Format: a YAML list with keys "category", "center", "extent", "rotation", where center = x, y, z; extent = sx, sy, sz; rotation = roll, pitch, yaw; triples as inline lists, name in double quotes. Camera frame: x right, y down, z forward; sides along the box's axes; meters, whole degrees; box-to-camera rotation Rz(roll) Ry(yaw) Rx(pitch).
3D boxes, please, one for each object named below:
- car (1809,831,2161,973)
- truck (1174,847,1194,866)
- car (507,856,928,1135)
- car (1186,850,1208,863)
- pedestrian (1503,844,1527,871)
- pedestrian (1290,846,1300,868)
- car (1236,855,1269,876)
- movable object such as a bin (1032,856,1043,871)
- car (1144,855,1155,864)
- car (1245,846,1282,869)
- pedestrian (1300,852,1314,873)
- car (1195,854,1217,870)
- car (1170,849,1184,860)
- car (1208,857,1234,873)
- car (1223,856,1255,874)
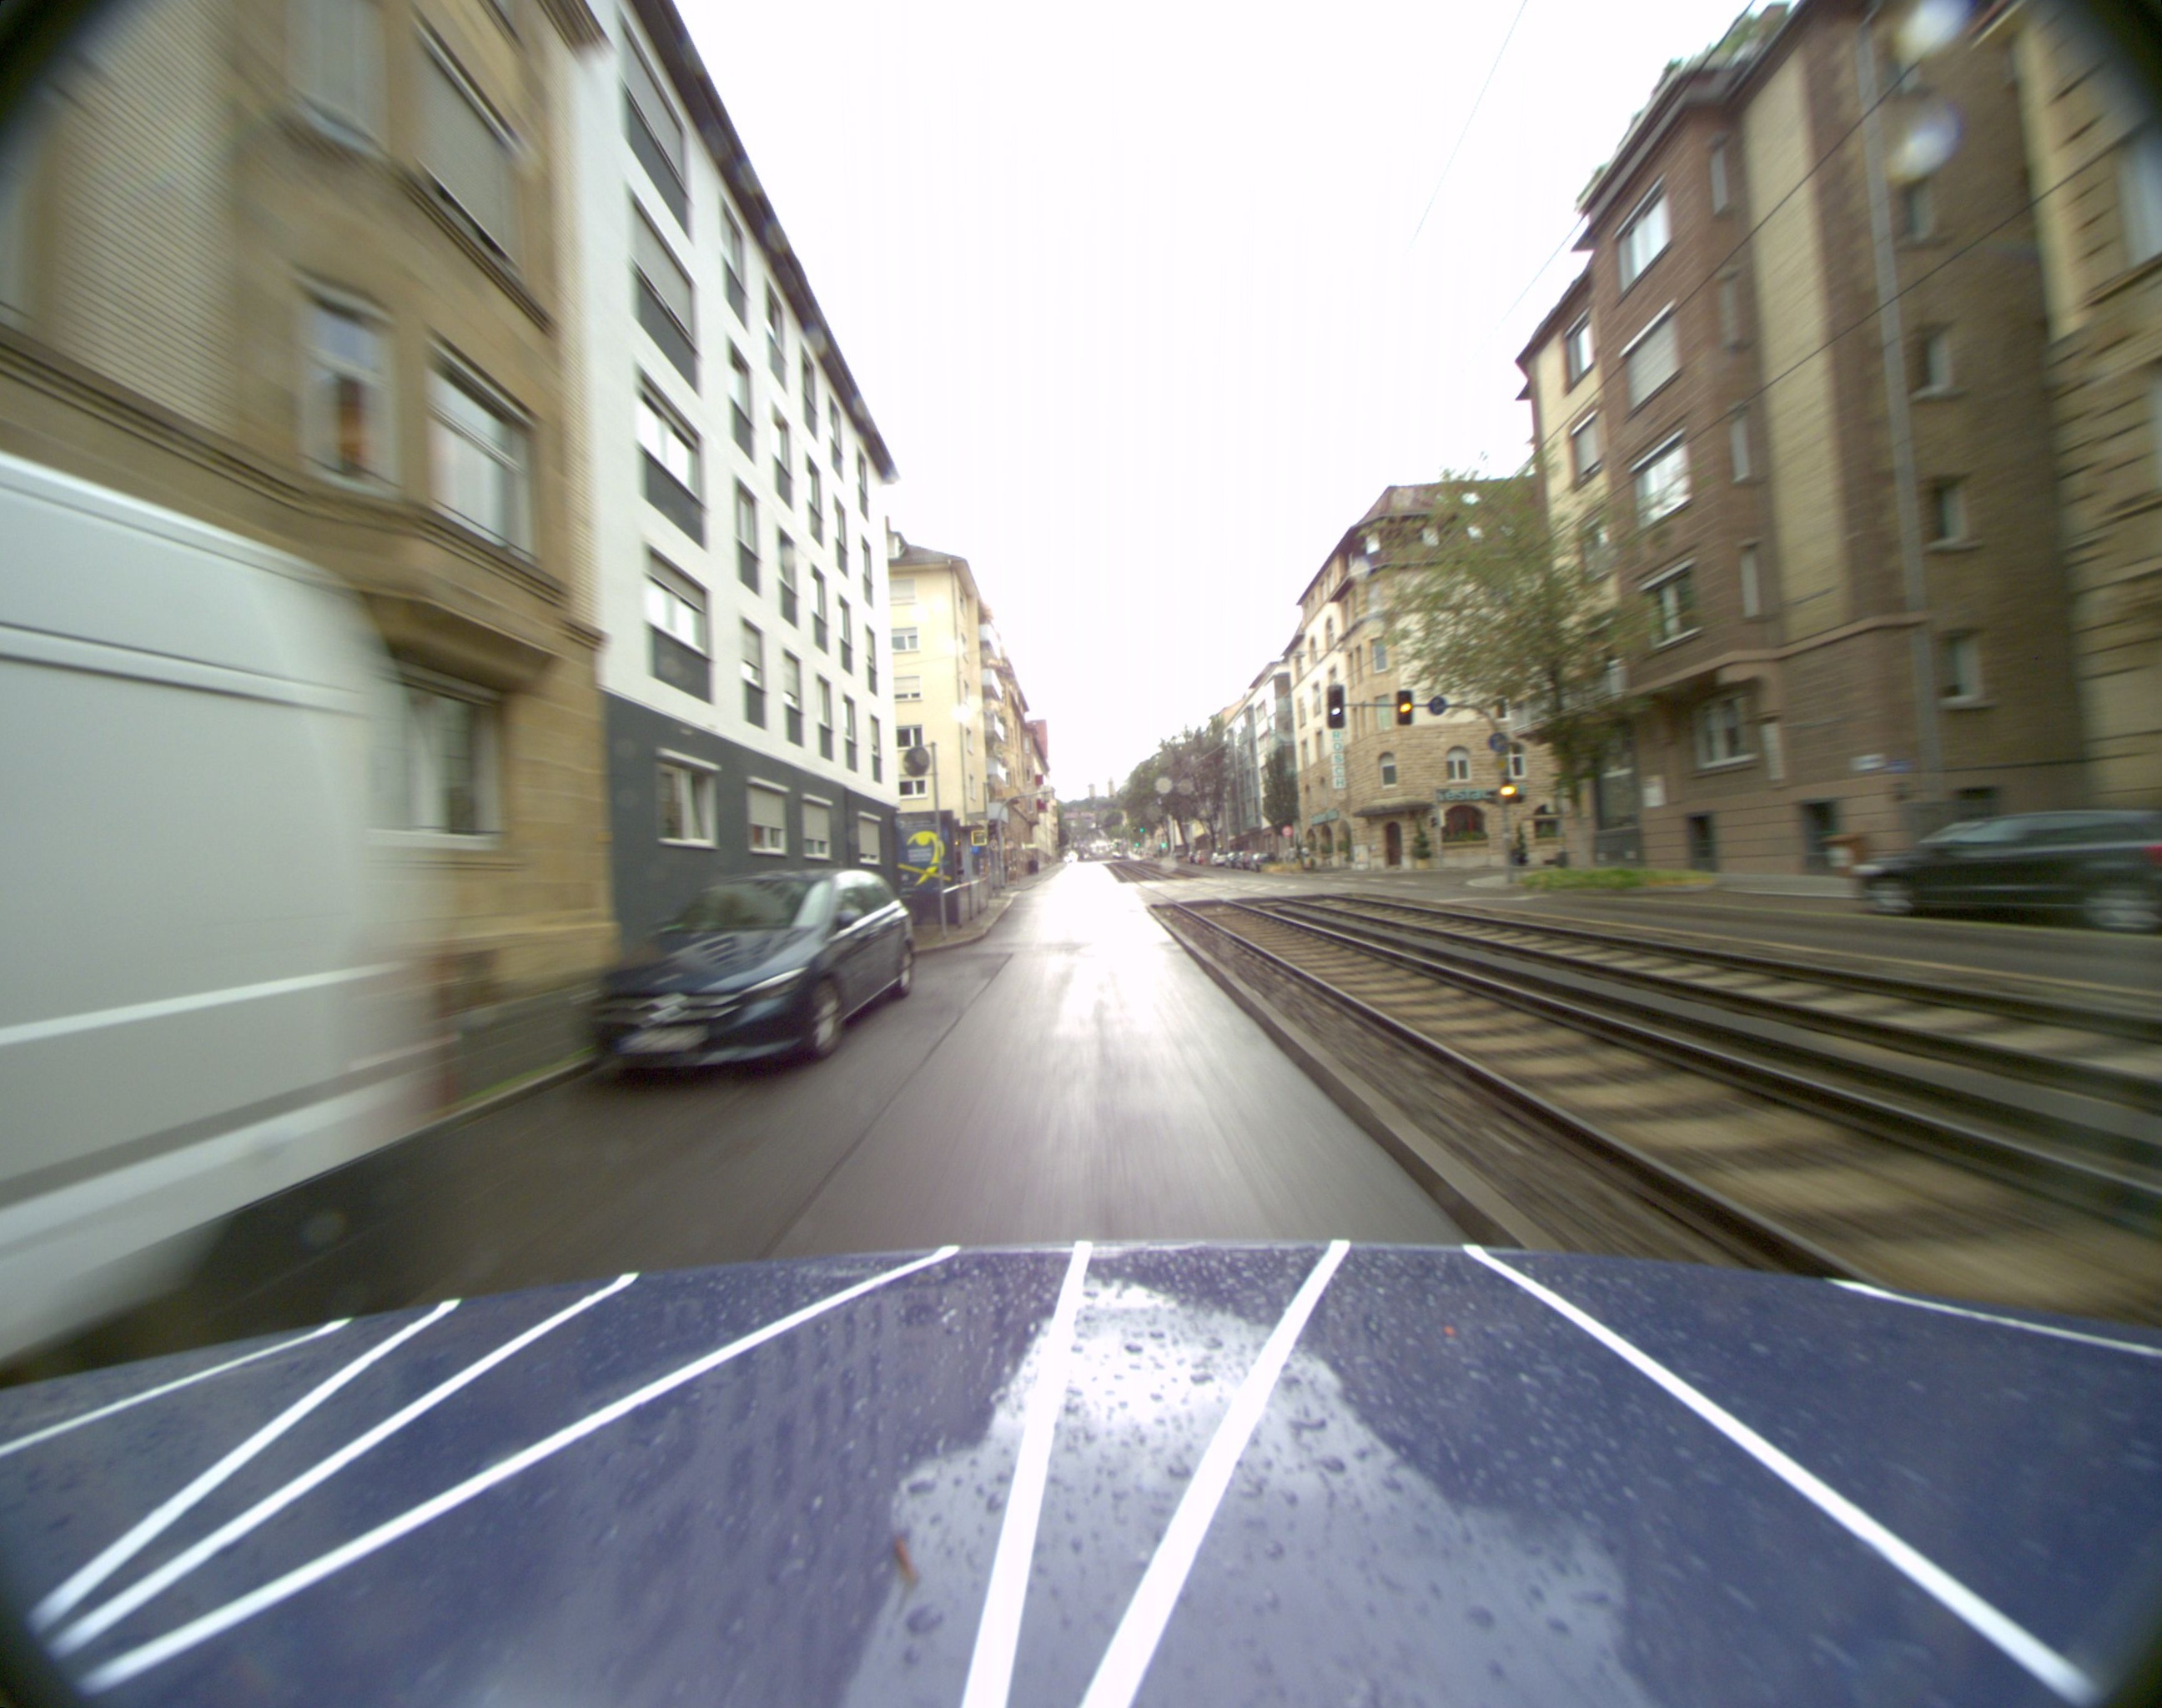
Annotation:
- category: "car"
  center: [12.525, 0.484, 10.169]
  extent: [1.769, 1.477, 4.000]
  rotation: [-3, 1, 2]
- category: "truck"
  center: [14.492, 0.356, 107.380]
  extent: [2.197, 2.332, 6.352]
  rotation: [-2, 2, 3]
- category: "car"
  center: [-2.947, 0.983, 7.448]
  extent: [1.773, 1.797, 4.482]
  rotation: [-4, 0, 1]
- category: "car"
  center: [14.213, 0.330, 93.242]
  extent: [1.911, 1.432, 4.469]
  rotation: [-3, 0, 0]
- category: "pedestrian"
  center: [23.136, 0.180, 40.523]
  extent: [0.818, 1.407, 0.721]
  rotation: [-3, 0, 4]
- category: "pedestrian"
  center: [15.388, 0.184, 54.665]
  extent: [0.518, 1.561, 0.643]
  rotation: [-2, 2, 4]
- category: "car"
  center: [13.759, 0.925, 61.165]
  extent: [1.812, 1.489, 3.526]
  rotation: [-4, 0, 0]
- category: "movable object such as a bin"
  center: [-4.439, 0.963, 78.027]
  extent: [1.011, 1.443, 1.393]
  rotation: [-1, 1, 1]
- category: "car"
  center: [12.222, 1.023, 135.229]
  extent: [1.631, 1.473, 3.581]
  rotation: [-3, 0, 2]
- category: "car"
  center: [13.456, 0.252, 56.168]
  extent: [1.769, 1.543, 3.895]
  rotation: [-3, 0, 1]
- category: "pedestrian"
  center: [16.242, 0.613, 54.667]
  extent: [0.756, 1.413, 0.645]
  rotation: [-3, 0, 2]
- category: "car"
  center: [14.144, 0.880, 85.980]
  extent: [1.781, 1.560, 4.158]
  rotation: [-3, 0, 0]
- category: "car"
  center: [14.838, 0.046, 117.530]
  extent: [1.709, 1.451, 4.360]
  rotation: [-4, 0, 1]
- category: "car"
  center: [13.712, 1.054, 74.639]
  extent: [1.706, 1.328, 4.130]
  rotation: [-5, 0, 1]
- category: "car"
  center: [13.614, 0.942, 65.723]
  extent: [1.805, 1.446, 4.431]
  rotation: [-3, 0, 0]
